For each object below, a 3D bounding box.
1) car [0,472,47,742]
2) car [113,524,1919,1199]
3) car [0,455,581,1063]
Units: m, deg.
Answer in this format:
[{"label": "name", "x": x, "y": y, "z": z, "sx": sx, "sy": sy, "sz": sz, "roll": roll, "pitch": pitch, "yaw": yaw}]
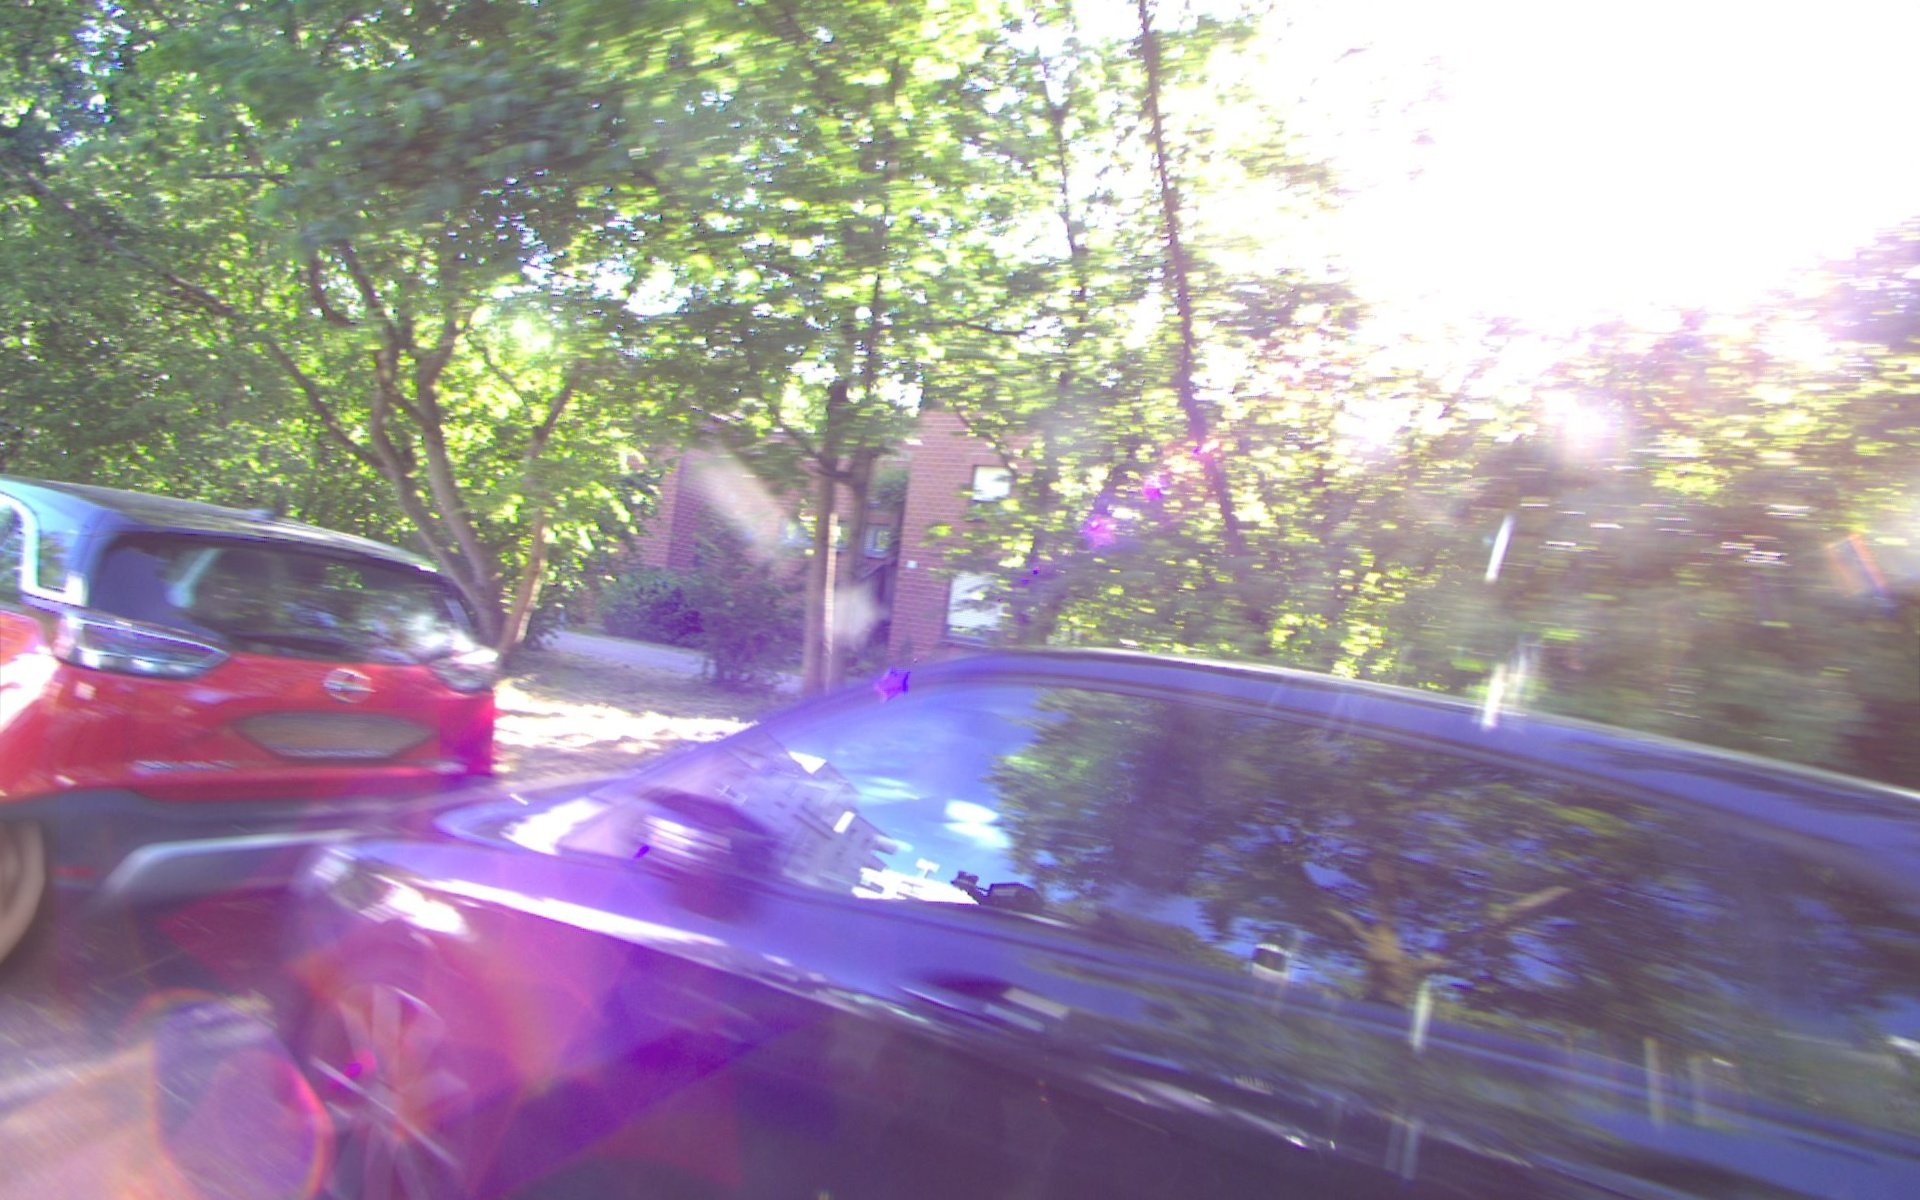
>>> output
[{"label": "car", "x": -7.952, "y": -0.253, "z": 6.450, "sx": 4.065, "sy": 1.640, "sz": 1.684, "roll": 7, "pitch": -2, "yaw": 28}, {"label": "car", "x": 0.154, "y": 0.888, "z": 2.424, "sx": 4.076, "sy": 1.526, "sz": 1.718, "roll": 7, "pitch": -2, "yaw": 26}, {"label": "car", "x": -3.773, "y": 0.304, "z": 4.338, "sx": 3.997, "sy": 1.591, "sz": 1.683, "roll": 7, "pitch": -2, "yaw": 30}]
